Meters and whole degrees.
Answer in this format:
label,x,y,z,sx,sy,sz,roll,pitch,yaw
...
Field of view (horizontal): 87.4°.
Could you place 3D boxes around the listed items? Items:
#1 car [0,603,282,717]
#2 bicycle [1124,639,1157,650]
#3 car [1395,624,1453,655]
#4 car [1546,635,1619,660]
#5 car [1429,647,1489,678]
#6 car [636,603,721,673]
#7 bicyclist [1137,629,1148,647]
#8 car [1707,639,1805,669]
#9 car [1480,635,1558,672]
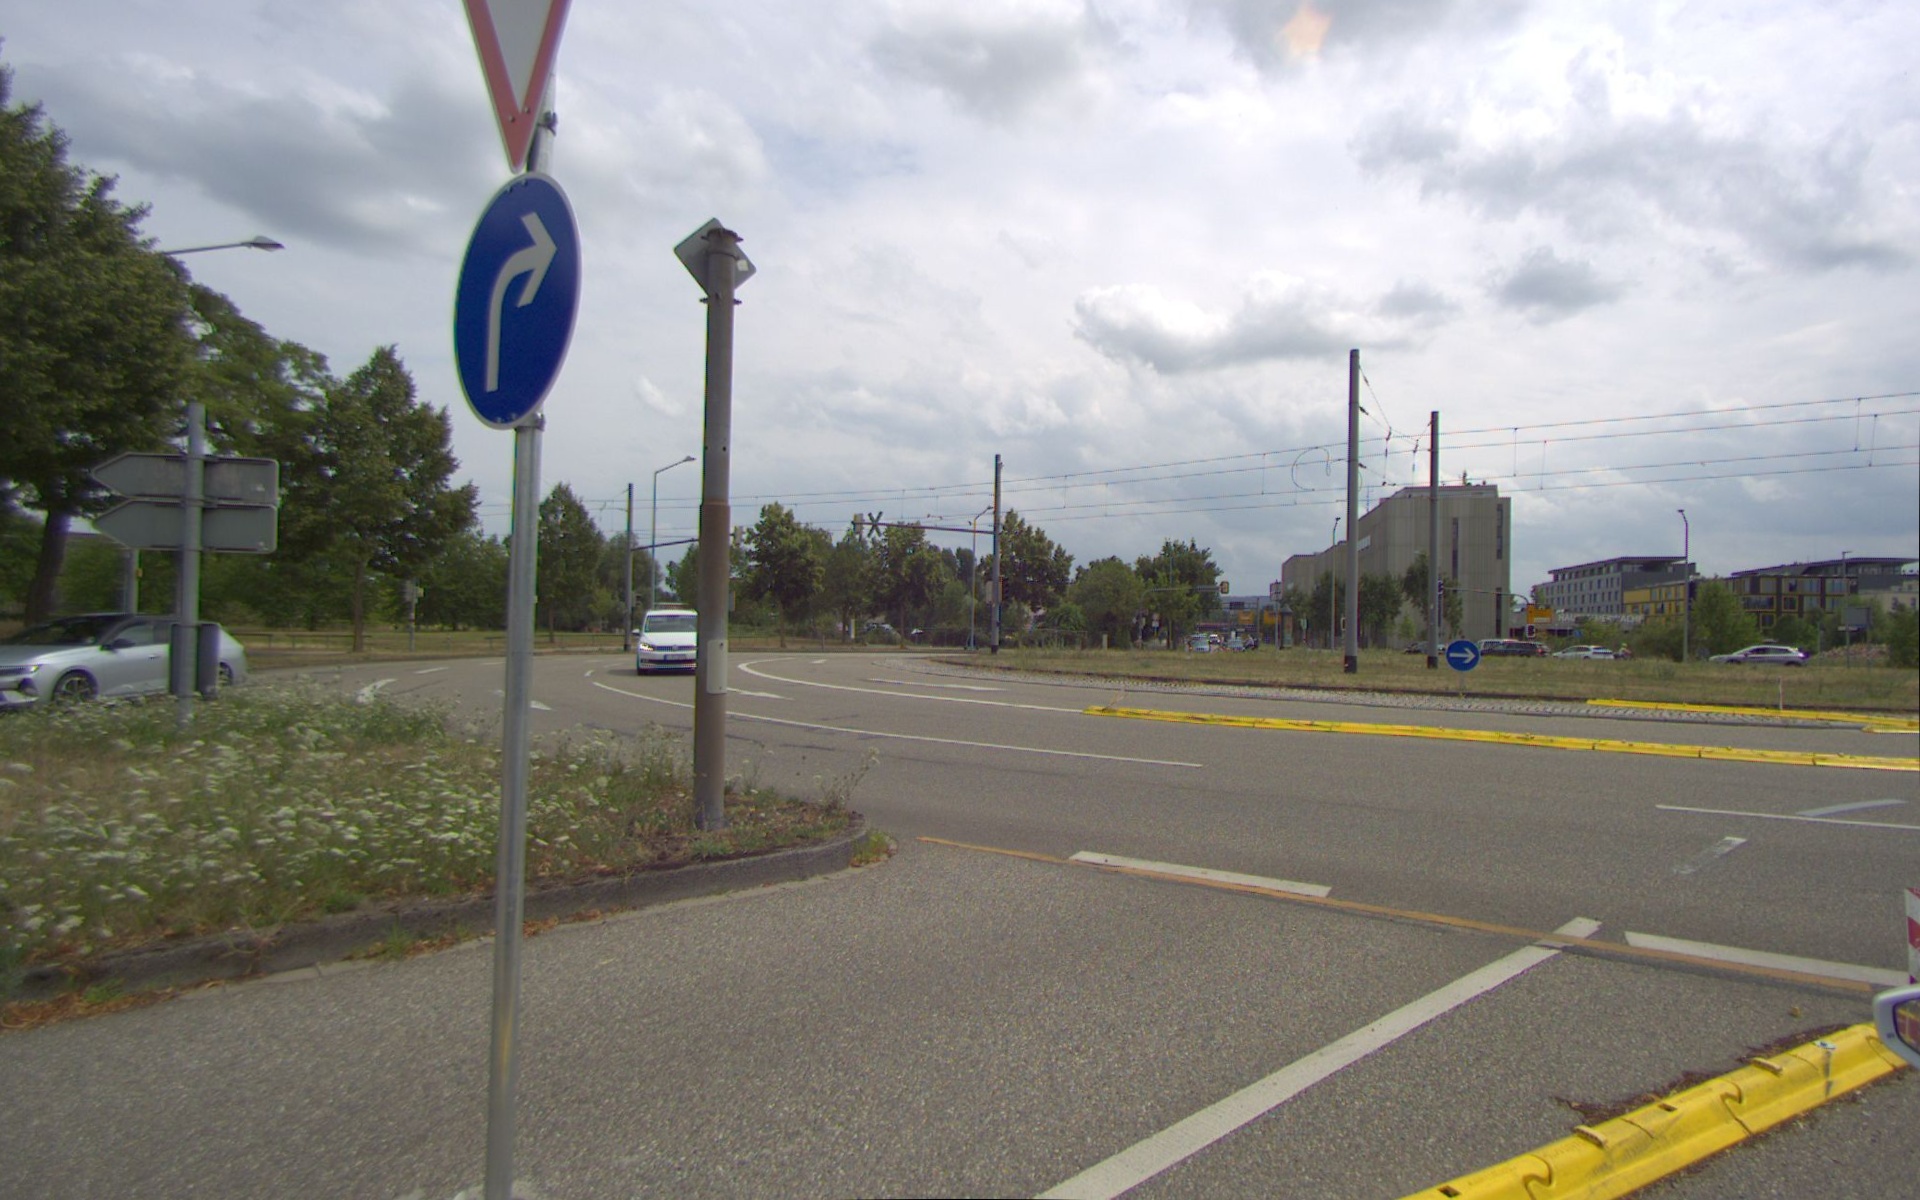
label,x,y,z,sx,sy,sz,roll,pitch,yaw
car,-13.427,0.841,15.809,1.961,1.502,5.184,1,-1,0
bicycle,14.972,3.710,83.323,2.608,0.866,0.864,1,-1,-5
car,32.477,2.727,70.425,1.962,2.040,3.998,3,-2,-4
car,42.196,3.198,68.145,1.804,1.483,3.986,3,-2,-17
car,36.863,4.598,74.320,1.962,2.040,4.360,3,-2,-4
car,-7.522,0.984,26.574,1.908,1.687,4.337,0,-2,-19
bicyclist,15.119,3.130,83.327,0.661,1.428,0.864,1,-1,-4
car,44.505,3.002,56.271,3.924,1.483,1.832,1,-2,24
car,34.627,3.297,62.199,3.936,2.040,1.993,2,-2,38
